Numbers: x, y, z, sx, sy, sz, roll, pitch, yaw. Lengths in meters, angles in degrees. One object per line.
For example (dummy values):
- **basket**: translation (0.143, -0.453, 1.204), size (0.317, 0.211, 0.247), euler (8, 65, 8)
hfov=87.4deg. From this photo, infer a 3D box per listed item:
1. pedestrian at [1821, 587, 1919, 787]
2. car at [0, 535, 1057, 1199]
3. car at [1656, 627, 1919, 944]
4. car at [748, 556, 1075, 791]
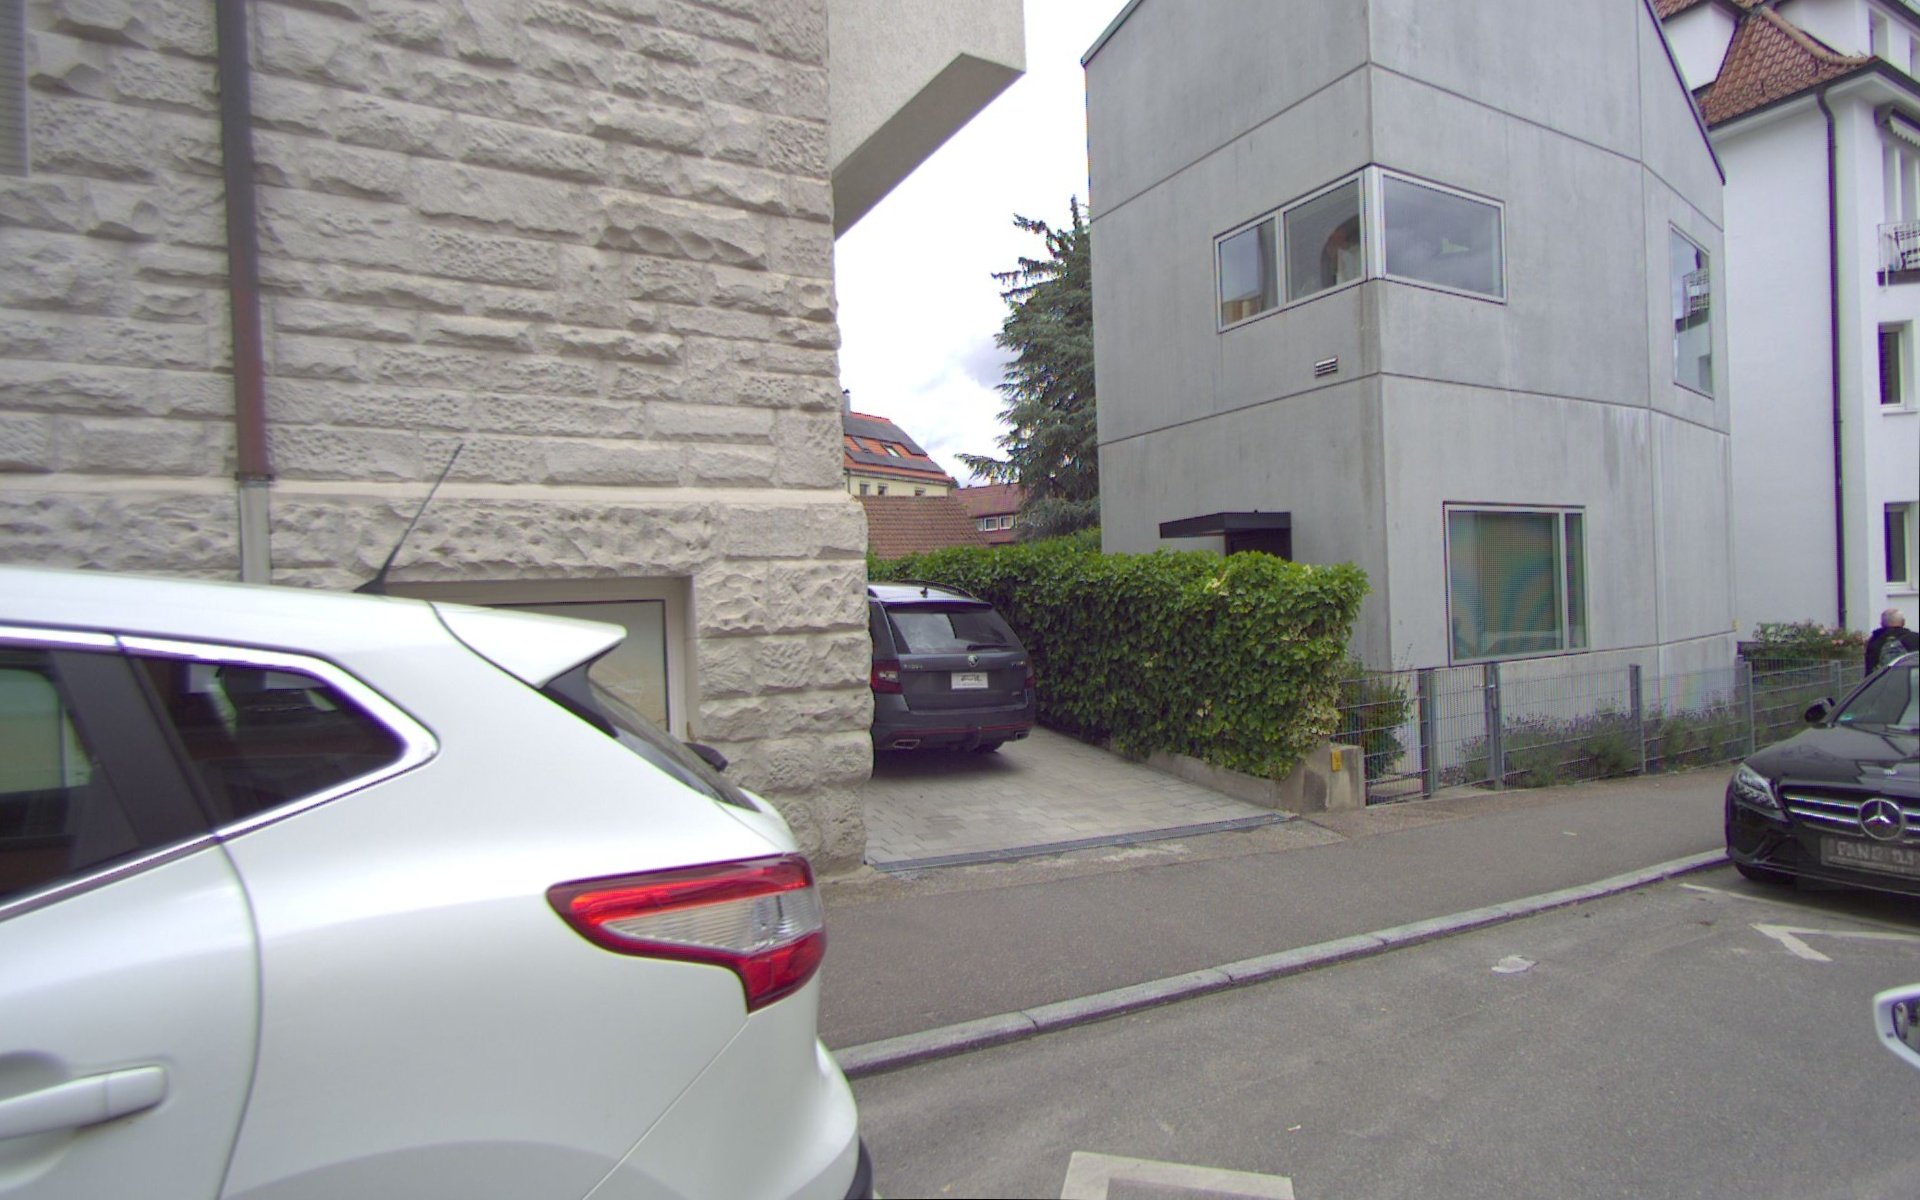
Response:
- **pedestrian**: translation (9.411, 0.843, 10.052), size (0.831, 1.909, 0.818), euler (0, -2, -8)
- **car**: translation (-2.097, 0.725, 1.188), size (4.194, 1.535, 1.835), euler (0, -1, -33)
- **car**: translation (6.456, 0.974, 6.306), size (4.422, 1.547, 1.885), euler (2, -2, -33)
- **car**: translation (-0.666, 0.493, 9.366), size (1.636, 1.524, 3.648), euler (1, 5, -27)
